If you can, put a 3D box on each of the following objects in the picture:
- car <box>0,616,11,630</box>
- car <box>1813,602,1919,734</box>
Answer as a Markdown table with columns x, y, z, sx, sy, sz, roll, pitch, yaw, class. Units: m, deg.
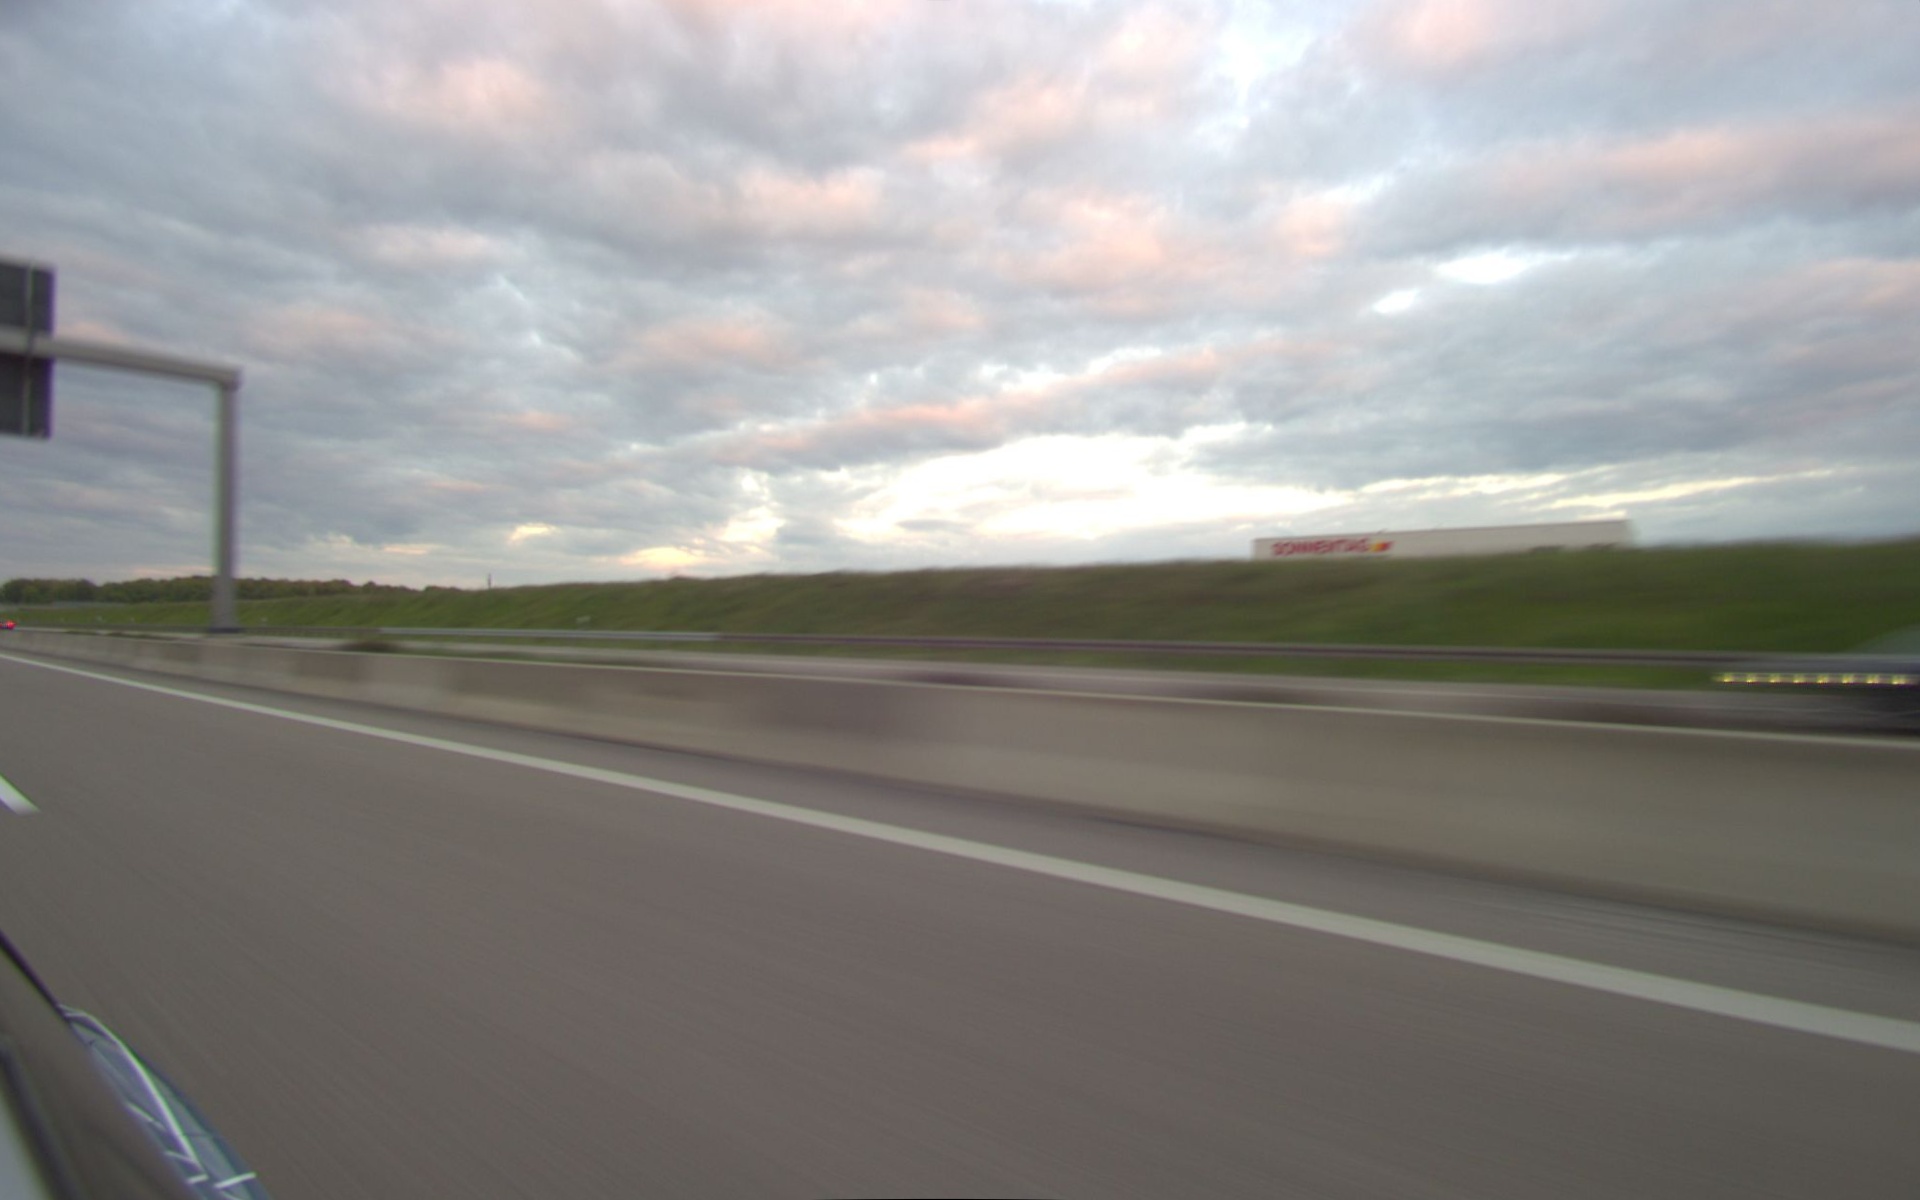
| x | y | z | sx | sy | sz | roll | pitch | yaw | class |
| --- | --- | --- | --- | --- | --- | --- | --- | --- | --- |
| -115.190 | 2.730 | 120.956 | 4.569 | 1.599 | 1.983 | -1 | -1 | 40 | car |
| 13.592 | 0.817 | 12.064 | 5.196 | 1.614 | 1.973 | -1 | -1 | 40 | car |
